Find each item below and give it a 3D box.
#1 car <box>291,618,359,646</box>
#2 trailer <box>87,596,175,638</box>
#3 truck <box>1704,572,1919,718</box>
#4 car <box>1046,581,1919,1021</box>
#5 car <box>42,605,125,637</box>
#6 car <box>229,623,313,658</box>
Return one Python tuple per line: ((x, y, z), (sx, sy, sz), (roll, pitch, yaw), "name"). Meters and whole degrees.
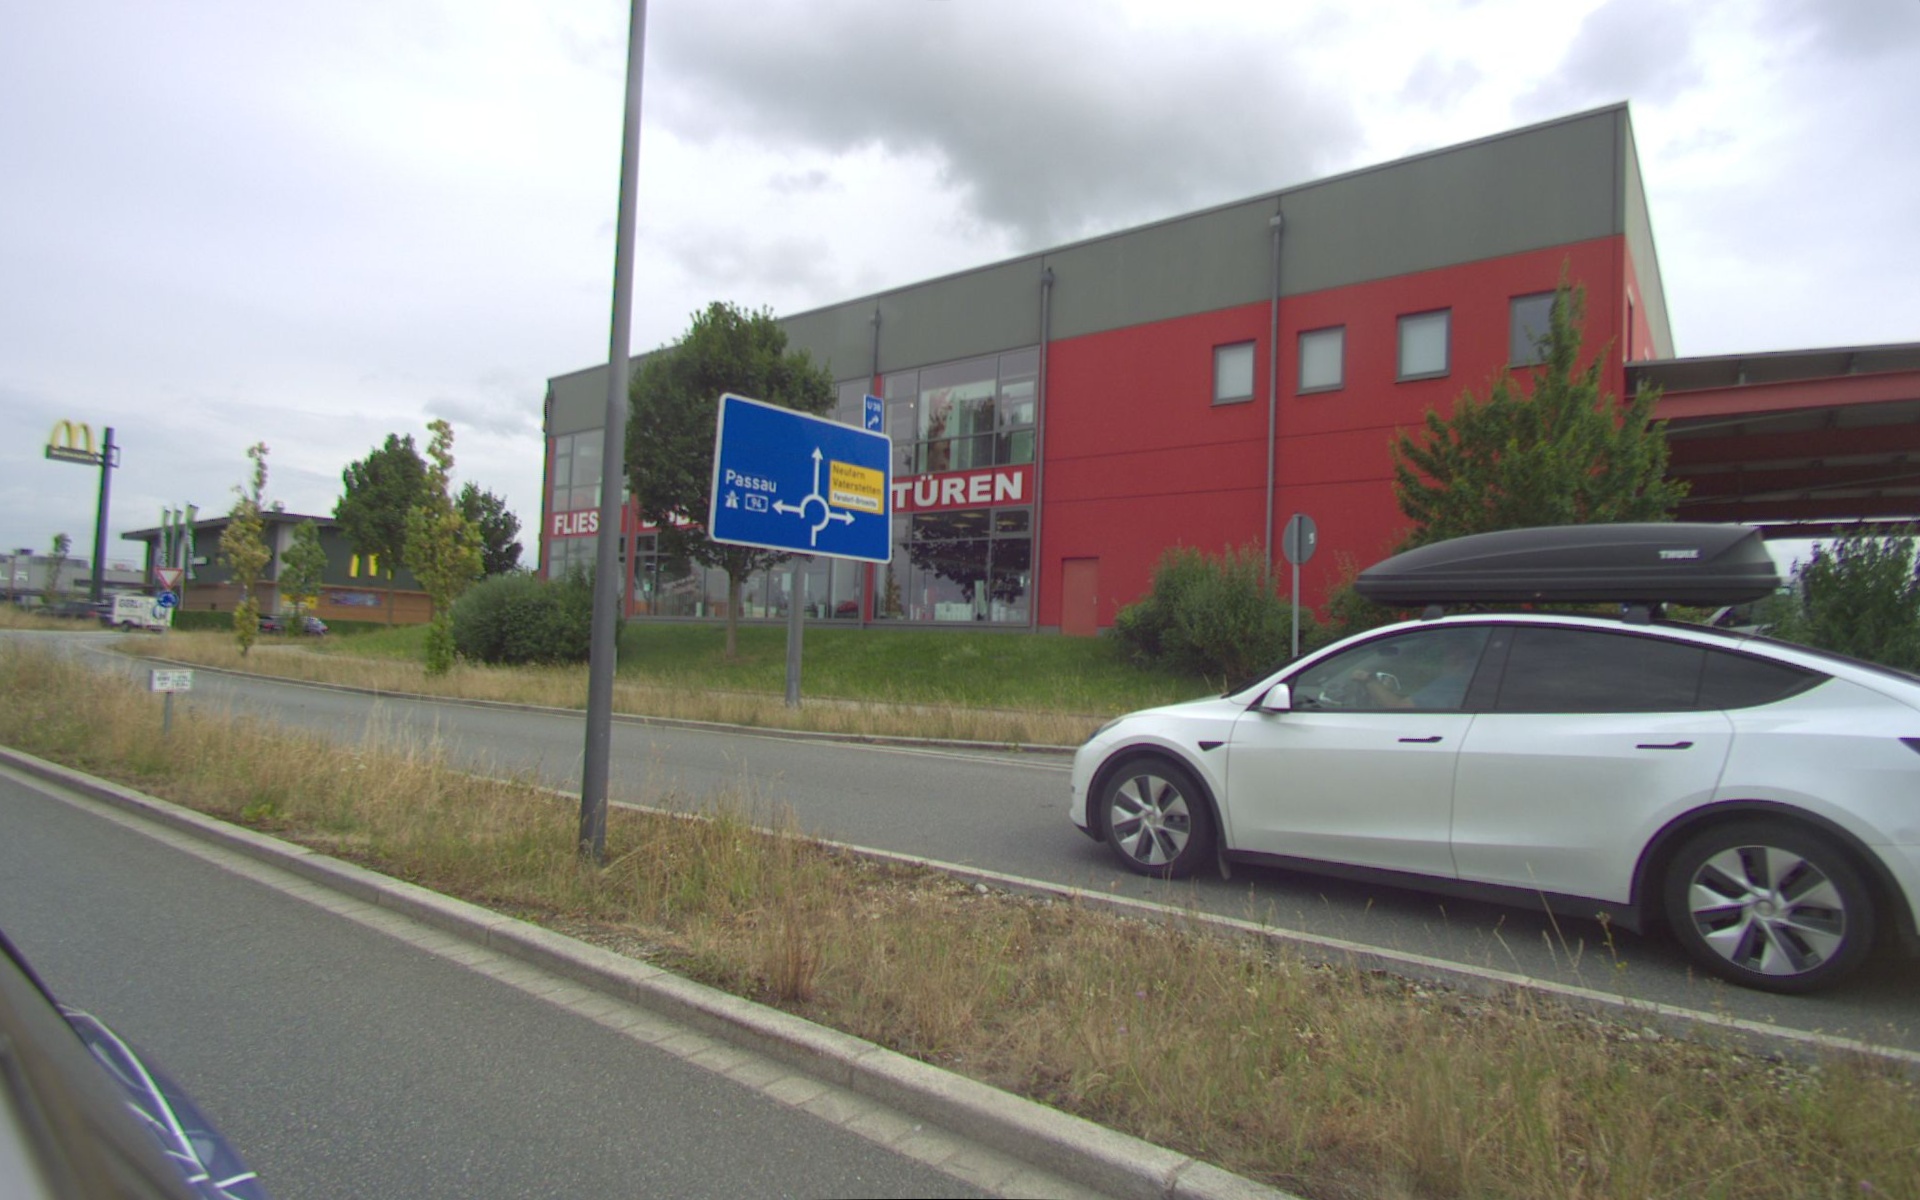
((-41.669, 2.107, 66.501), (1.870, 1.671, 4.018), (3, -2, 0), "car")
((-47.297, 0.971, 57.749), (4.112, 2.107, 1.802), (2, -4, 18), "trailer")
((17.019, 0.810, 18.124), (5.899, 2.506, 2.014), (-1, -3, 38), "truck")
((2.921, 0.787, 5.574), (4.633, 1.638, 1.889), (-2, -1, 40), "car")
((-51.190, 1.210, 59.097), (4.587, 1.682, 1.802), (1, -4, 24), "car")
((-36.689, 2.188, 54.007), (1.624, 1.469, 3.765), (8, -5, 2), "car")
